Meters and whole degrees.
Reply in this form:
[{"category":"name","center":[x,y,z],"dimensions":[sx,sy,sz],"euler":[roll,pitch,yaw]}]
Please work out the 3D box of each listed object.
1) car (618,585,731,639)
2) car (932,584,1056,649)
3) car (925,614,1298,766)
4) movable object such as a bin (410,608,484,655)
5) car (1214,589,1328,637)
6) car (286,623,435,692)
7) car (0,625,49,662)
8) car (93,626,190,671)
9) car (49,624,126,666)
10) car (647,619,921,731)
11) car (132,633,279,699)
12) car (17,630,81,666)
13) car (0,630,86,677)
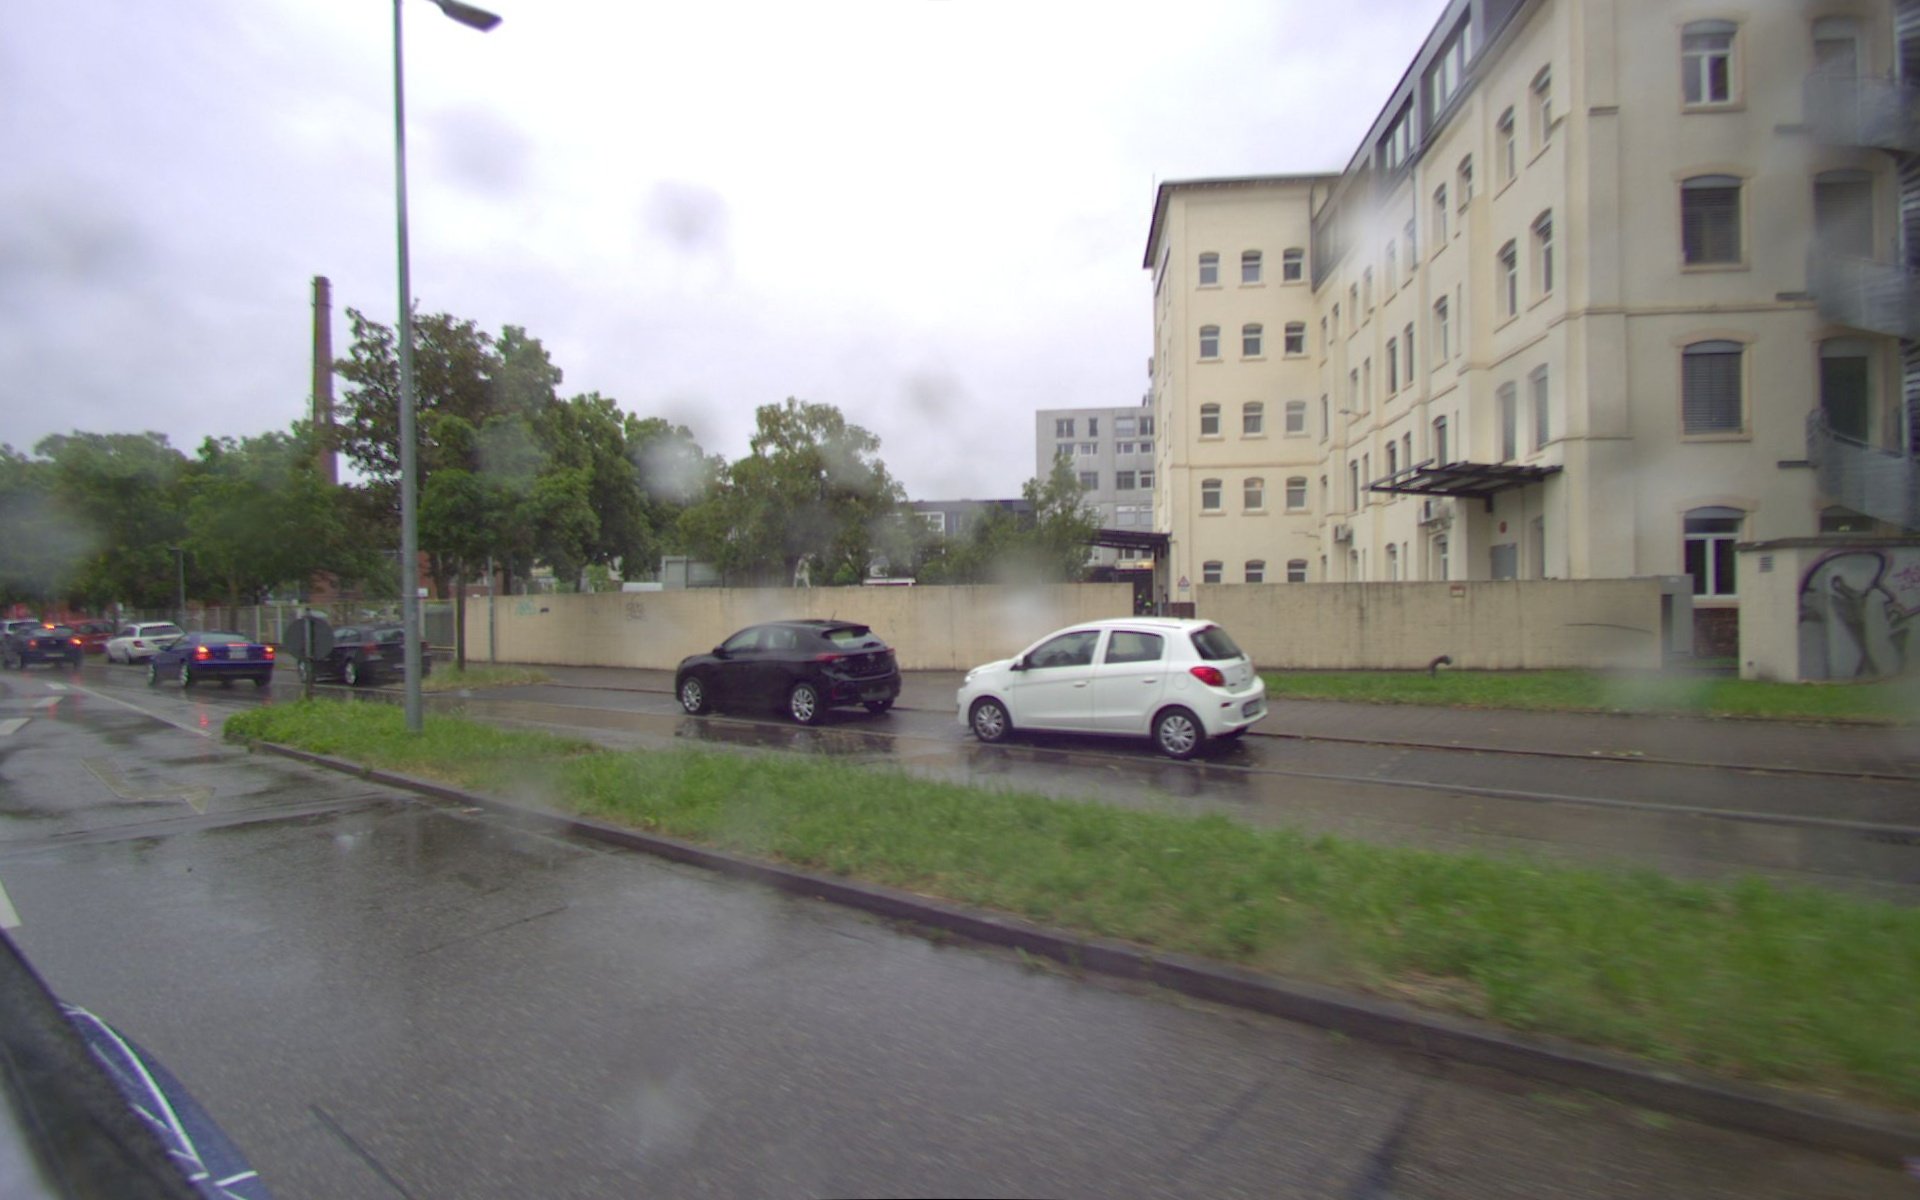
[{"category":"car","center":[-13.451,0.569,47.791],"dimensions":[4.667,2.414,2.144],"euler":[-1,0,9]},{"category":"car","center":[1.112,0.528,33.457],"dimensions":[3.946,2.006,1.999],"euler":[-1,0,2]},{"category":"car","center":[1.699,0.937,12.036],"dimensions":[4.113,1.485,1.588],"euler":[-1,0,36]},{"category":"movable object such as a bin","center":[-16.816,1.001,33.154],"dimensions":[1.830,1.452,1.544],"euler":[-1,0,39]},{"category":"car","center":[12.246,0.501,40.052],"dimensions":[3.951,1.778,1.996],"euler":[-1,-1,7]},{"category":"car","center":[-14.460,1.315,24.338],"dimensions":[4.091,1.456,1.680],"euler":[-1,1,38]},{"category":"car","center":[-47.886,2.173,51.353],"dimensions":[4.033,1.695,1.859],"euler":[-1,0,39]},{"category":"car","center":[-30.273,1.737,37.385],"dimensions":[4.673,1.471,1.758],"euler":[-1,0,38]},{"category":"car","center":[-36.510,1.861,42.309],"dimensions":[3.790,1.610,1.610],"euler":[-1,0,36]},{"category":"car","center":[-2.767,1.039,15.457],"dimensions":[4.173,1.393,1.711],"euler":[-1,2,37]},{"category":"car","center":[-17.814,1.500,23.859],"dimensions":[3.944,1.404,1.711],"euler":[-1,-3,37]},{"category":"car","center":[-41.082,2.126,45.612],"dimensions":[3.716,1.465,1.673],"euler":[-1,0,40]},{"category":"car","center":[-31.768,1.800,34.912],"dimensions":[3.940,1.512,1.690],"euler":[-1,-3,38]}]
